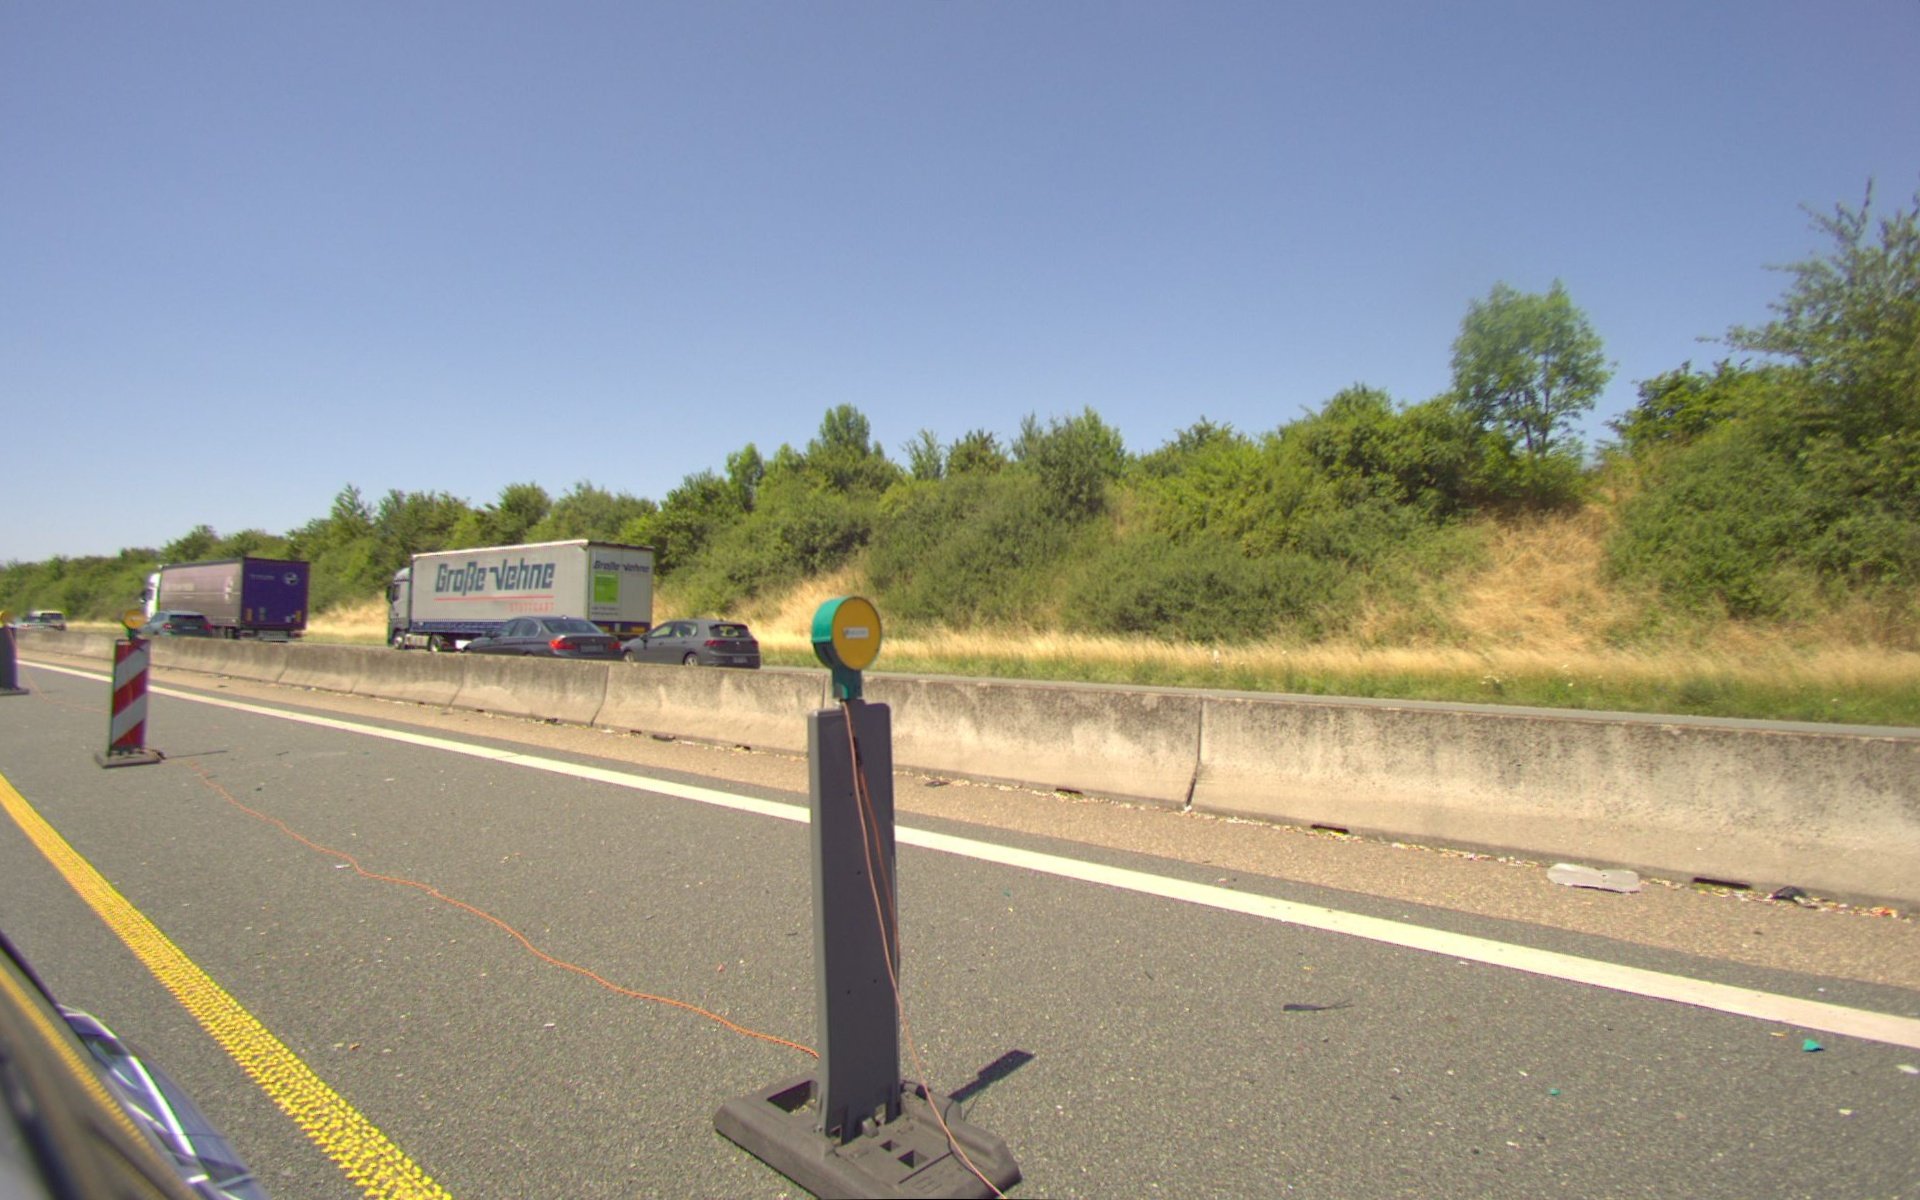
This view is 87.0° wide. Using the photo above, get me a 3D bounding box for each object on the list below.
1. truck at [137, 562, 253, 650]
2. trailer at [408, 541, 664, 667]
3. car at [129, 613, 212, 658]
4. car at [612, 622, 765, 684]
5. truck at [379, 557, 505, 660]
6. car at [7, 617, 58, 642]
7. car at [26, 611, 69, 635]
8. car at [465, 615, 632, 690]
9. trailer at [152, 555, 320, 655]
[{"bbox_3d":[-39.687,0.392,52.403,7.408,4.257,3.132,-1,-2,40],"label":"truck"},{"bbox_3d":[-16.480,0.292,38.394,13.626,4.093,2.923,-1,-3,40],"label":"trailer"},{"bbox_3d":[-32.525,1.430,41.652,4.393,1.728,1.823,-1,-2,41],"label":"car"},{"bbox_3d":[-6.686,1.239,24.760,4.084,1.407,1.488,-1,-2,39],"label":"car"},{"bbox_3d":[-22.111,0.404,43.129,5.192,4.108,2.916,-1,-2,40],"label":"truck"},{"bbox_3d":[-55.676,1.760,60.739,4.632,1.482,1.744,-1,-2,41],"label":"car"},{"bbox_3d":[-70.173,1.760,77.776,5.453,1.806,1.847,-1,-2,42],"label":"car"},{"bbox_3d":[-8.821,1.056,21.565,3.986,1.453,1.600,-1,-2,39],"label":"car"},{"bbox_3d":[-34.912,0.320,48.434,13.671,4.212,3.128,-1,-2,40],"label":"trailer"}]
